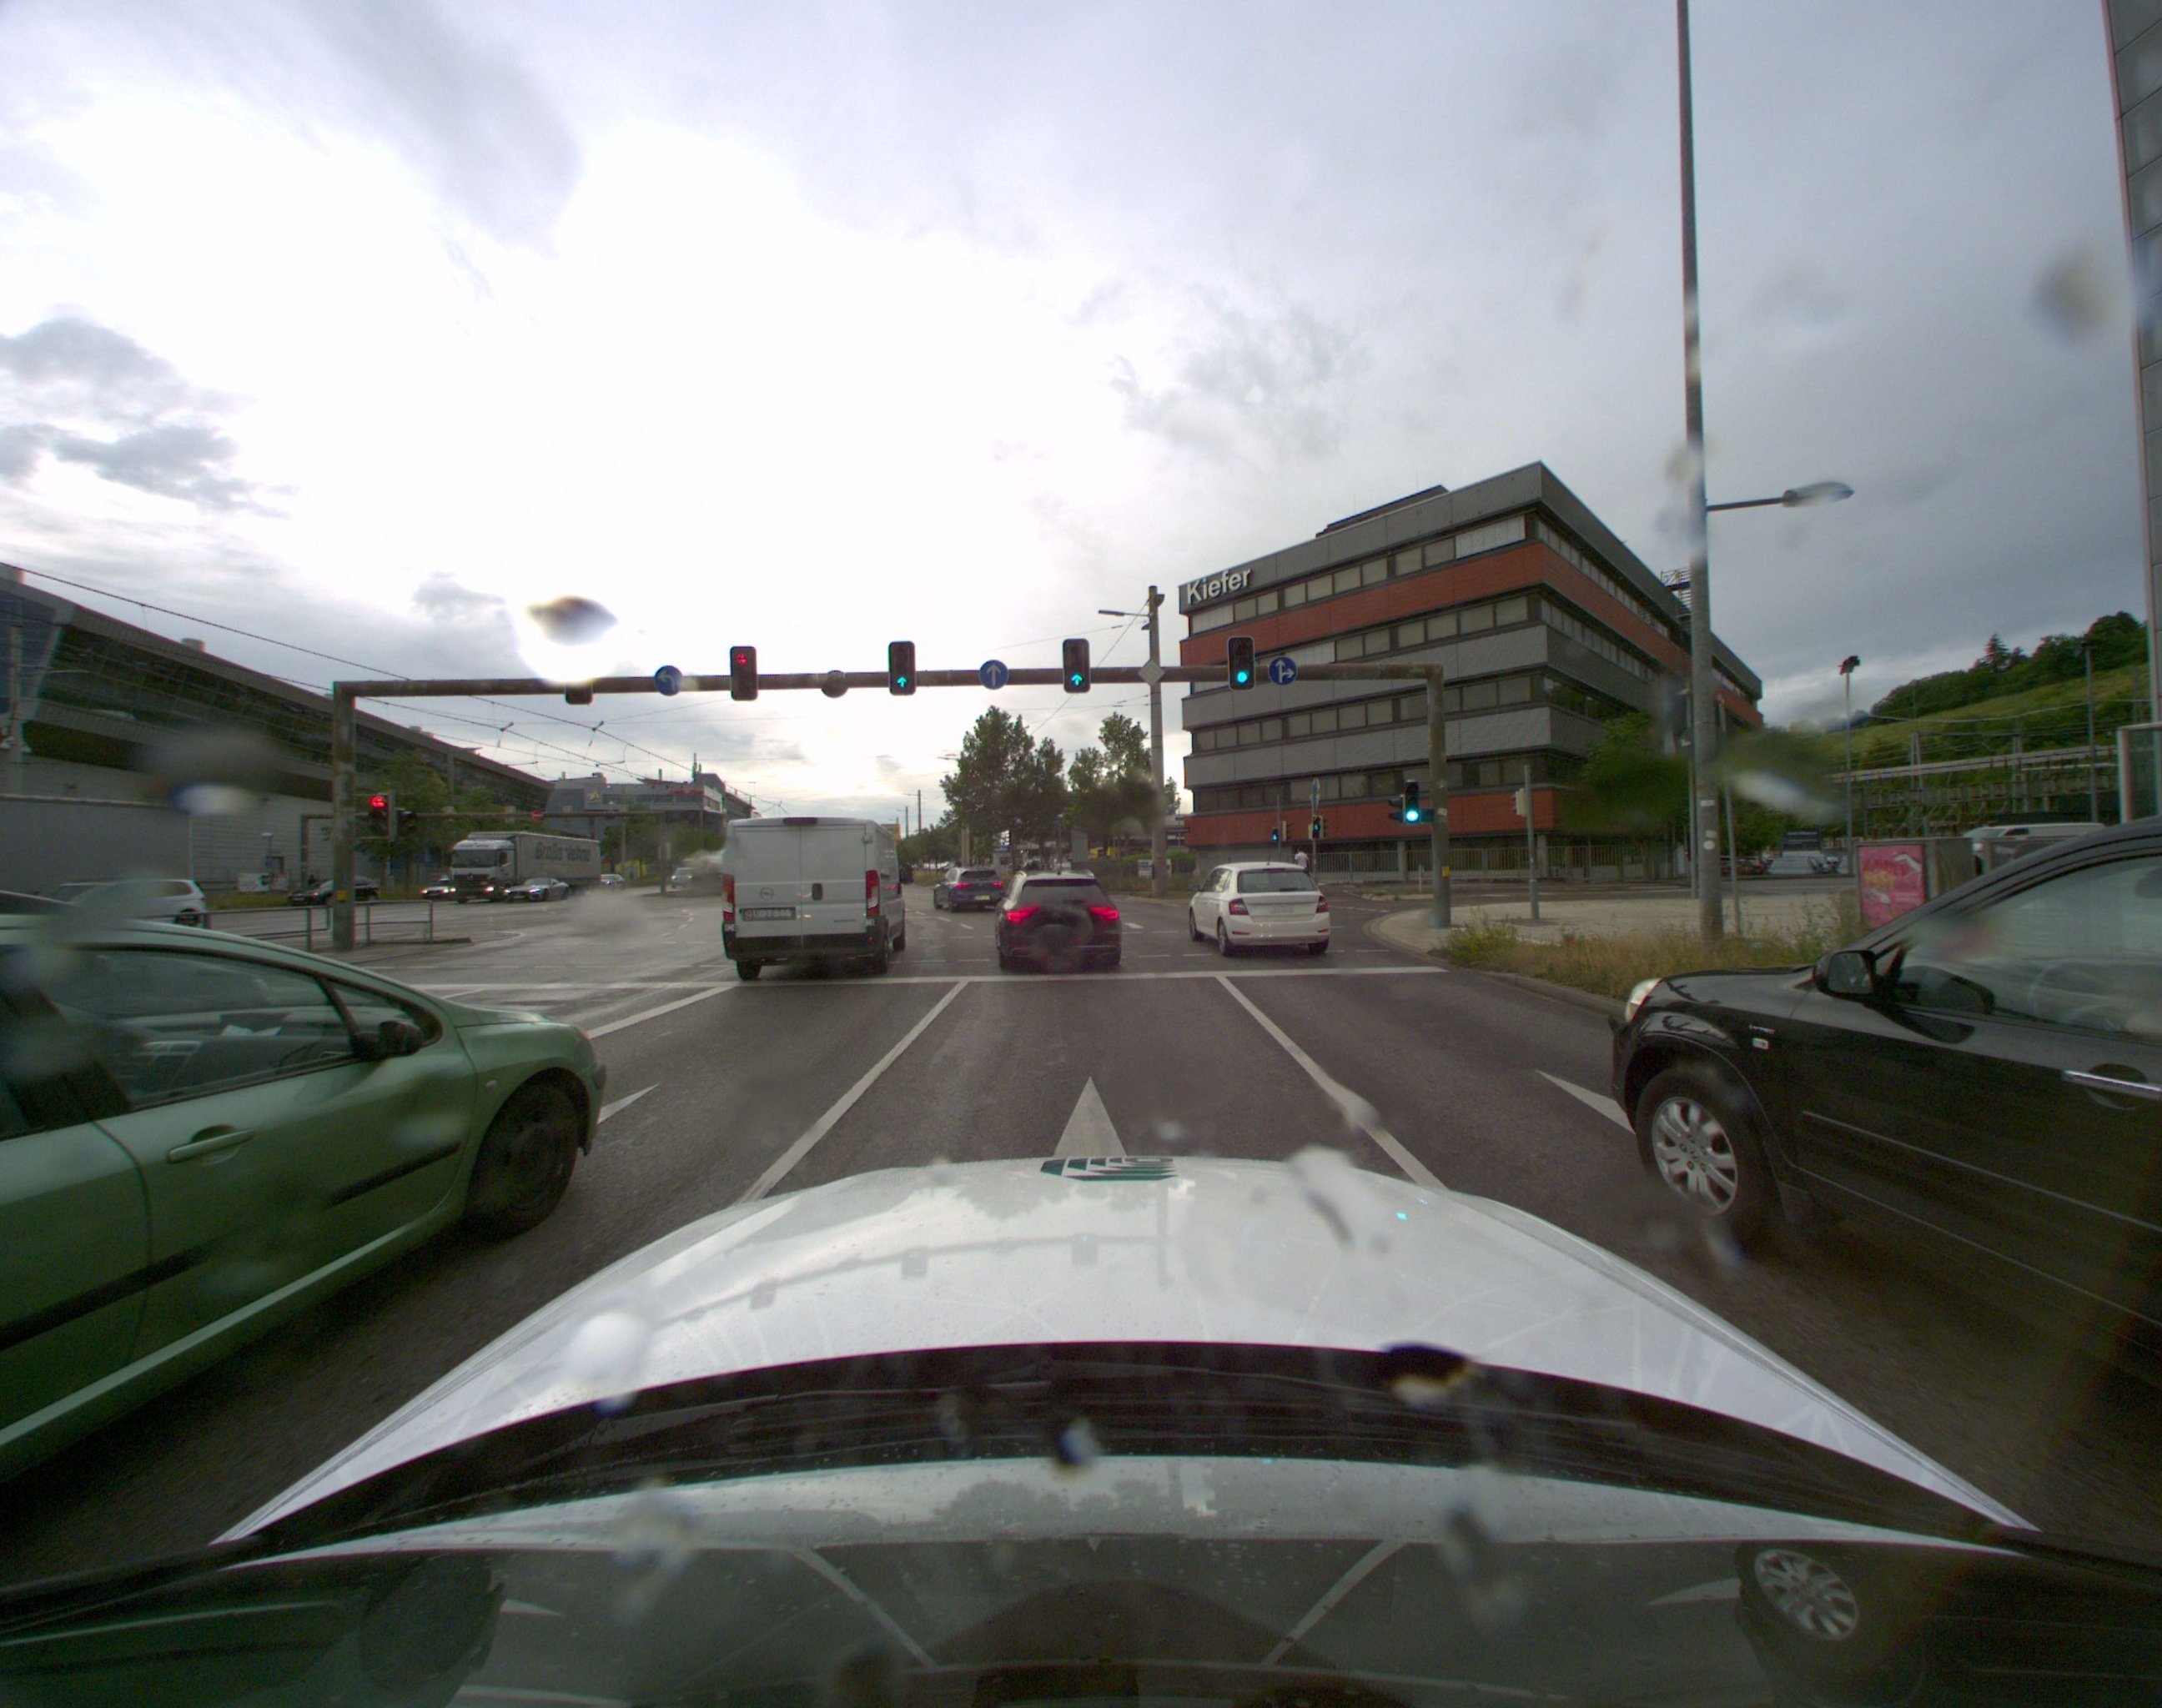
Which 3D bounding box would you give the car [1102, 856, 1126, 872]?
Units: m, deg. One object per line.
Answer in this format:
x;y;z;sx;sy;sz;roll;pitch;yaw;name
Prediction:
4.268;1.269;105.231;1.876;2.014;3.749;2;-2;-19;car

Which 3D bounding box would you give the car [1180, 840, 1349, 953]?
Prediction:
2.973;0.686;14.093;1.825;1.656;3.995;0;-2;-3;car

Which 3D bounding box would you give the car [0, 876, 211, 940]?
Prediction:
-27.891;1.475;23.302;1.887;1.652;4.082;1;-2;-9;car

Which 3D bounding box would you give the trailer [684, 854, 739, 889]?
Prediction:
-44.427;2.192;98.279;2.722;3.855;11.199;-2;-1;-7;trailer

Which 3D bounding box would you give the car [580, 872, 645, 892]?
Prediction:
-40.988;2.476;71.344;4.605;1.609;2.004;-2;-1;6;car

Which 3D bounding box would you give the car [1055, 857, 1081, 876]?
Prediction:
-1.507;1.470;93.159;1.997;2.032;3.979;-2;-1;-15;car

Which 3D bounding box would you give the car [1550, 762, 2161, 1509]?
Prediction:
3.250;0.631;2.006;1.759;1.630;4.324;1;-1;1;car

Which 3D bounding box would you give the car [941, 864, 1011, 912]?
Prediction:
-3.617;1.134;27.450;1.897;1.465;3.889;0;-2;-14;car

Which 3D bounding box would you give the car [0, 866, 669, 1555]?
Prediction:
-3.147;0.772;2.236;1.689;1.468;4.403;1;-2;1;car

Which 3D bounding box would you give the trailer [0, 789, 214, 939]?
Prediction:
-31.031;0.315;22.269;2.788;4.107;11.430;-1;-1;-3;trailer

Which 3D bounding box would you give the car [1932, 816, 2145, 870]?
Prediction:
35.993;-0.360;30.772;5.033;1.916;2.006;0;-2;11;car

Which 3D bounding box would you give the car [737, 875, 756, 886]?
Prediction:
-47.394;3.759;115.592;2.165;1.506;4.274;-1;-1;-18;car

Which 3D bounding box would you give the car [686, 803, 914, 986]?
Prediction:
-4.059;0.563;12.820;2.444;2.294;4.891;-1;-2;-8;car

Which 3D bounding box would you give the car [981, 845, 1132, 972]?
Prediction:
-0.426;0.780;13.047;1.989;1.637;3.995;-2;-1;-3;car

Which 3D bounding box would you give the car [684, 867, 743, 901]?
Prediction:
-23.166;1.826;51.484;1.768;2.014;4.344;1;-1;-1;car

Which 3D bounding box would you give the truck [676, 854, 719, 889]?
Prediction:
-43.808;2.025;93.237;2.743;3.805;5.398;-2;-1;-7;truck

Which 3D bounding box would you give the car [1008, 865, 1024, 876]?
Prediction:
-9.963;2.468;124.655;1.795;1.591;3.978;-1;-1;-16;car

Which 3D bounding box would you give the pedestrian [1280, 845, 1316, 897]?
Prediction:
9.053;0.695;34.081;1.139;2.125;1.223;-2;0;1;pedestrian

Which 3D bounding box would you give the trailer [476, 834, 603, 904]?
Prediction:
-36.114;1.058;55.063;2.652;4.125;12.689;-1;-2;-12;trailer

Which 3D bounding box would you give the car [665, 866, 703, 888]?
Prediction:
-37.890;2.169;77.873;1.994;1.837;4.891;2;0;-10;car

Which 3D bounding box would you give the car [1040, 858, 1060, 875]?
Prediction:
-3.902;1.557;102.090;1.681;2.014;3.524;1;-2;-14;car

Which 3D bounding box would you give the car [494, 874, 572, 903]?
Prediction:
-30.887;1.917;46.084;1.903;1.555;4.549;1;-2;-10;car

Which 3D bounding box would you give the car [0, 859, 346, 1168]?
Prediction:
-6.470;0.813;3.999;1.719;1.592;4.195;1;-1;3;car

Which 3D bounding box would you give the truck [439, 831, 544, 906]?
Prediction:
-34.650;0.891;48.168;2.668;4.130;6.161;-1;-2;-11;truck
